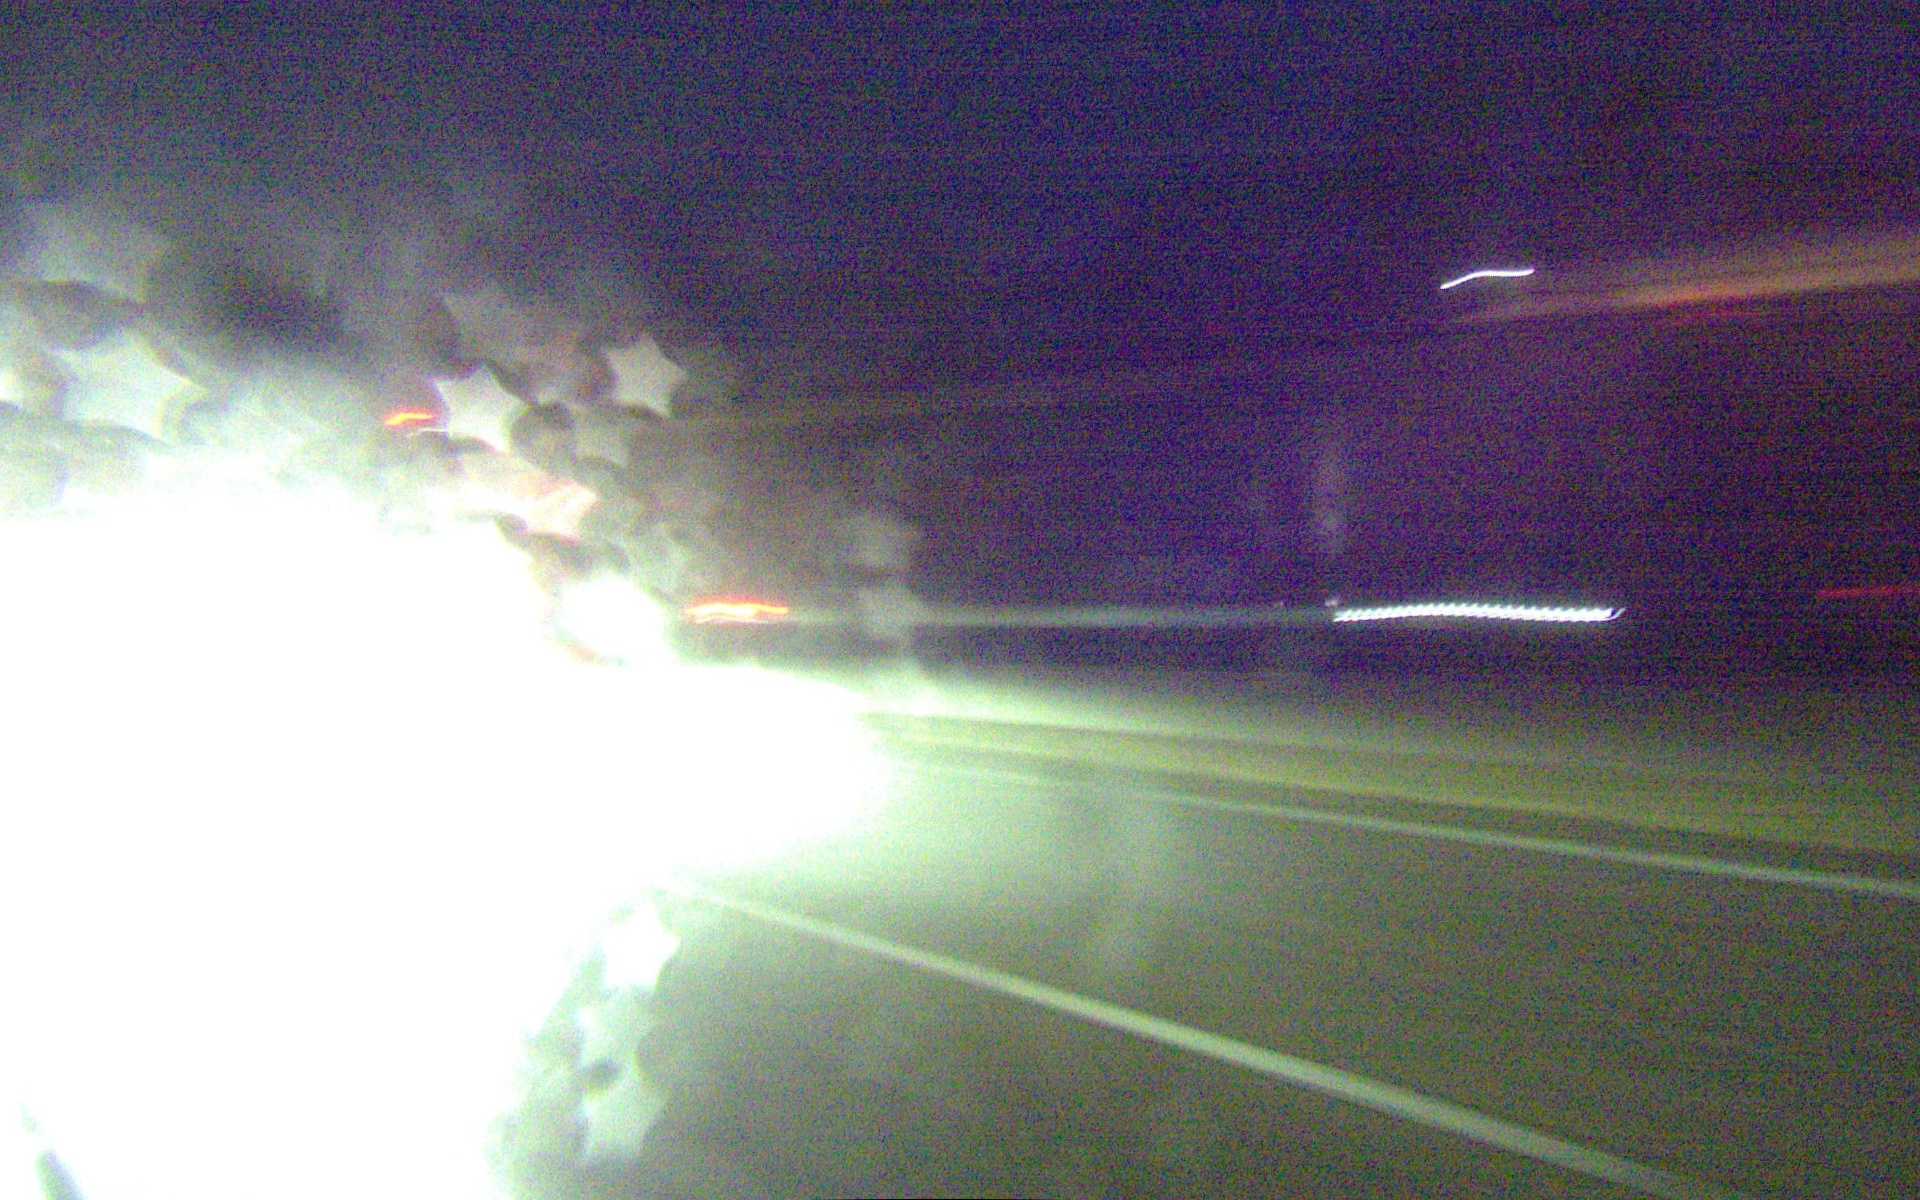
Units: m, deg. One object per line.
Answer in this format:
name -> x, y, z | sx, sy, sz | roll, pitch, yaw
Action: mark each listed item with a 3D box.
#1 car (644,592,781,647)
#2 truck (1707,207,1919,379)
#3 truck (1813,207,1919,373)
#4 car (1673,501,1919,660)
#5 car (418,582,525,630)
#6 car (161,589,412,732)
car -> -7.304, 0.550, 29.711 | 3.999, 1.504, 1.972 | -1, 0, 42
truck -> 24.680, -8.553, 28.470 | 5.387, 3.808, 2.403 | 0, 0, 19
truck -> 29.889, -8.538, 26.687 | 11.144, 3.808, 2.403 | 0, 0, 19
car -> 9.721, -0.197, 10.212 | 3.997, 1.504, 1.724 | -1, 0, 40
car -> -16.182, 0.206, 33.458 | 3.997, 1.504, 1.724 | -1, 0, 40
car -> -10.881, 0.778, 16.149 | 5.555, 1.898, 2.113 | 0, 1, 43
